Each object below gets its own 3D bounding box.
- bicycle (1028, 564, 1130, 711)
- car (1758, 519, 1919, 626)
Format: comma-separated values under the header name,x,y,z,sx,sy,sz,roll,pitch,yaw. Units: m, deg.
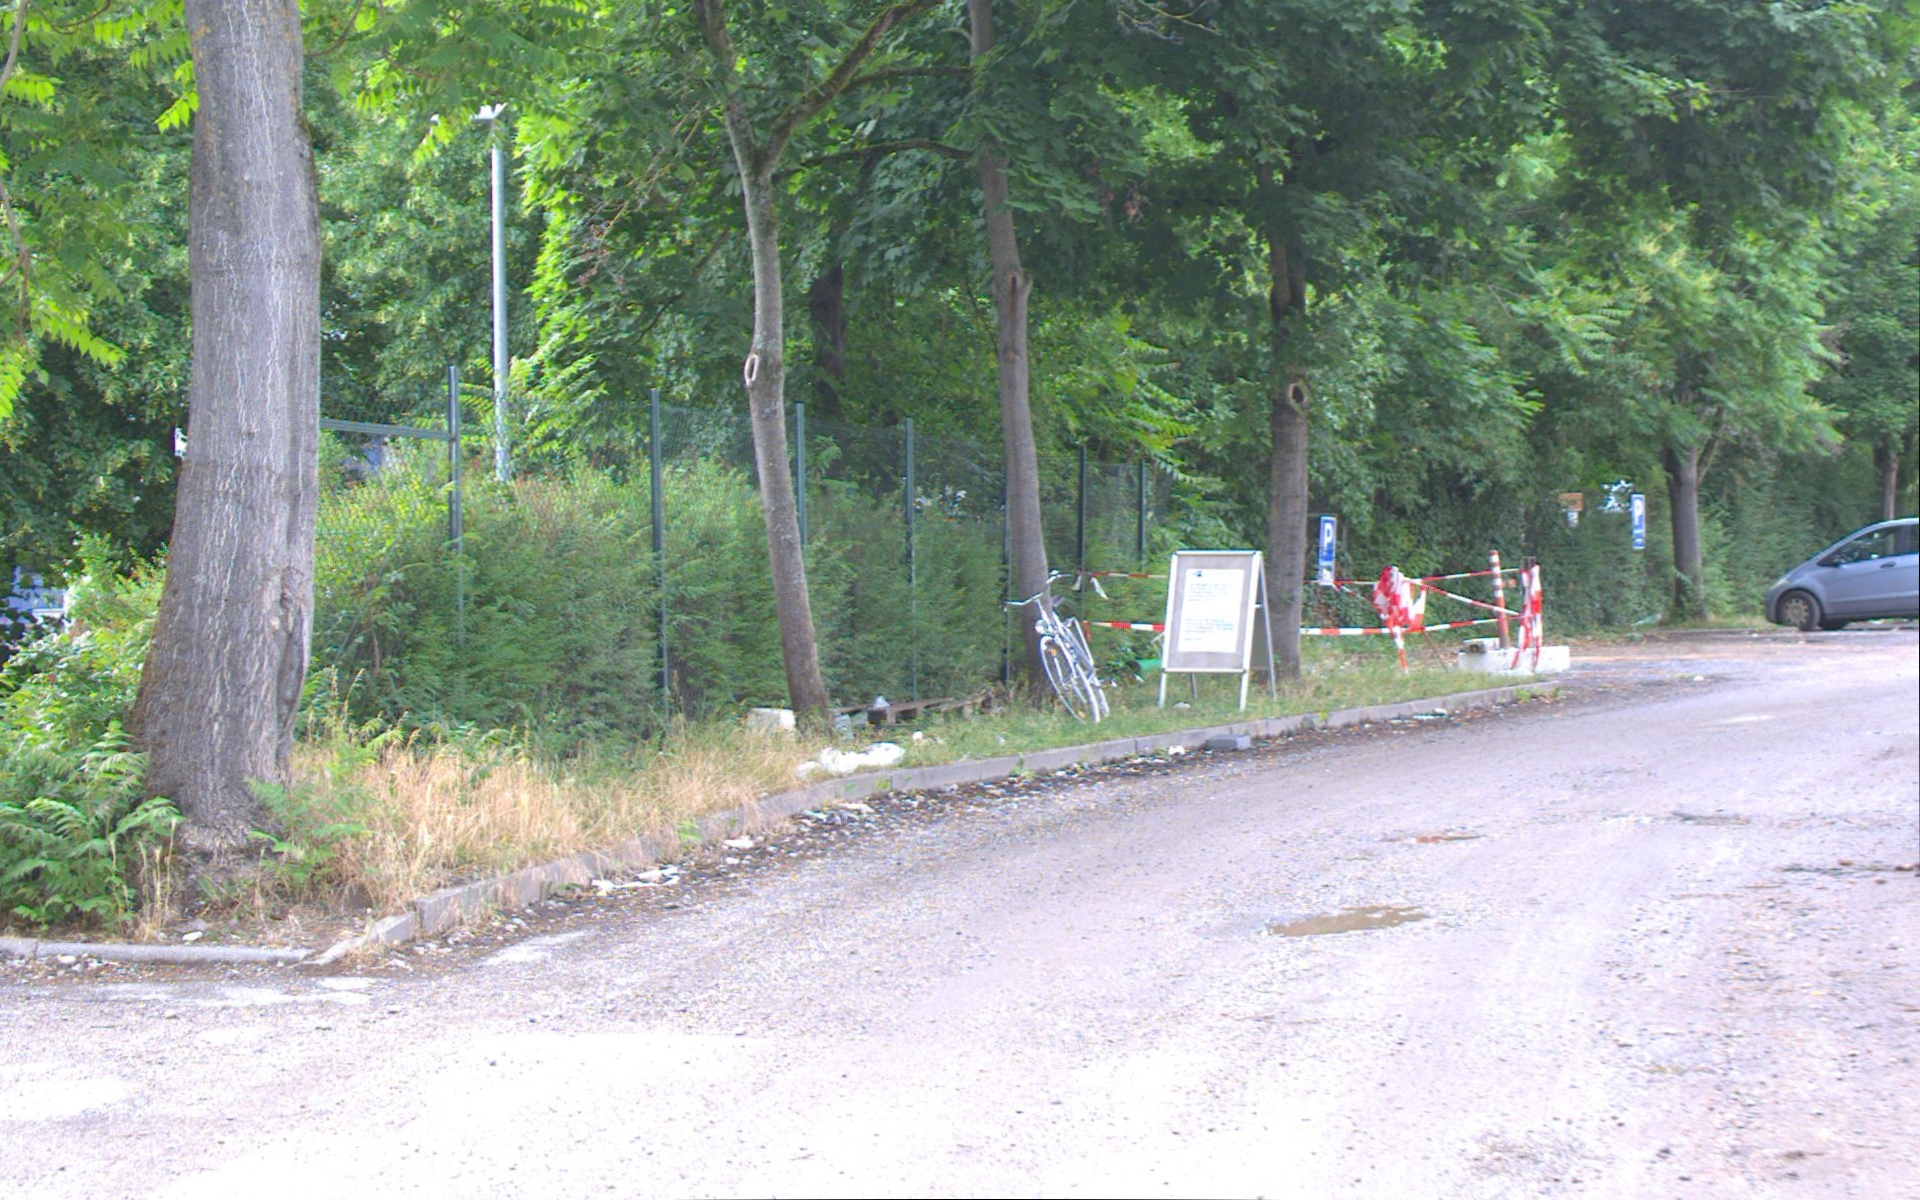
name,x,y,z,sx,sy,sz,roll,pitch,yaw
bicycle,0.799,0.235,22.860,0.419,0.902,1.153,5,2,11
car,13.570,-0.406,49.361,3.705,1.495,1.864,0,1,31
